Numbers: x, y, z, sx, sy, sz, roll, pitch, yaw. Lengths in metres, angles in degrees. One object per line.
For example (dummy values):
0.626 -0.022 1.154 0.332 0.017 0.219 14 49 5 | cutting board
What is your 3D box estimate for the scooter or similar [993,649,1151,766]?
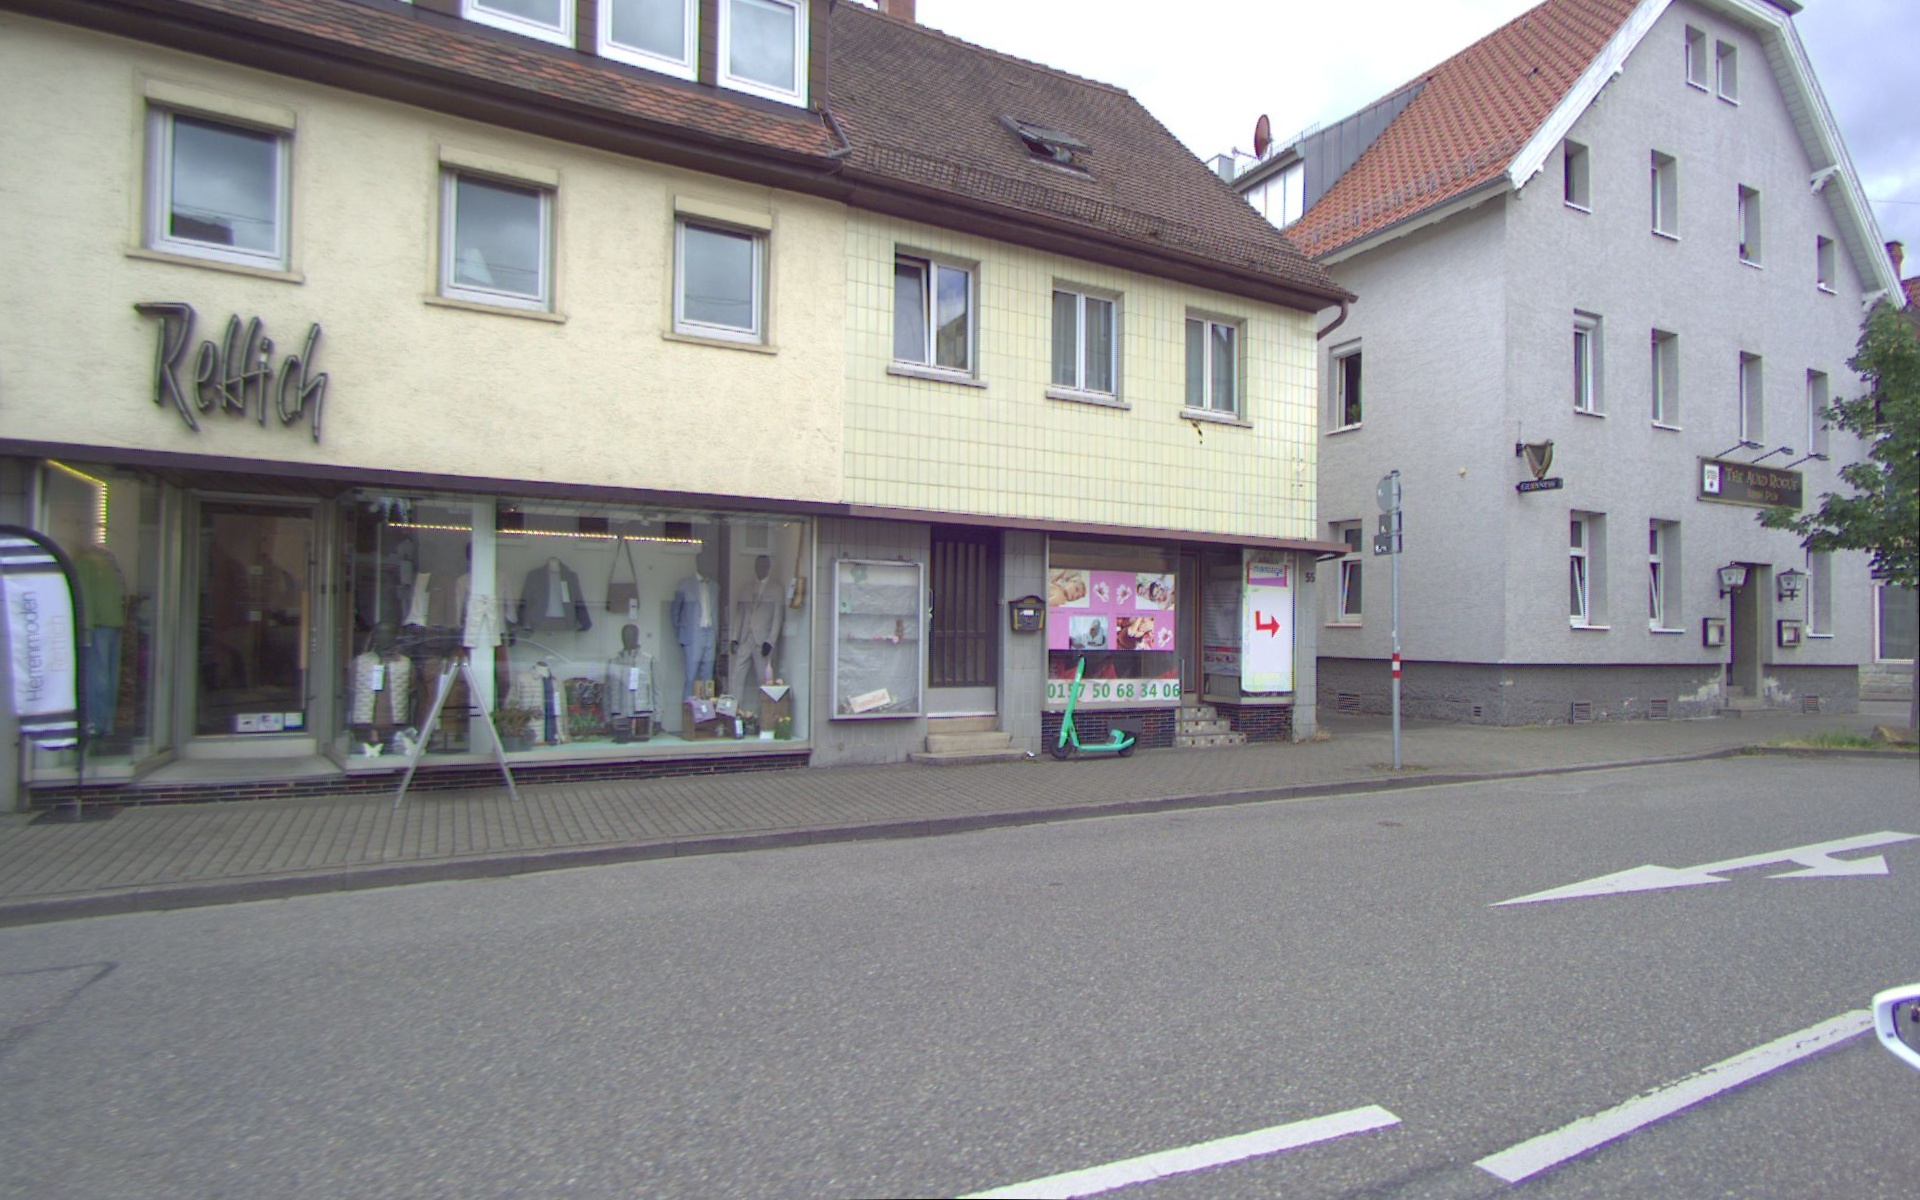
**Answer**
1.240 1.146 11.004 1.699 1.185 0.526 2 0 -27 | scooter or similar
